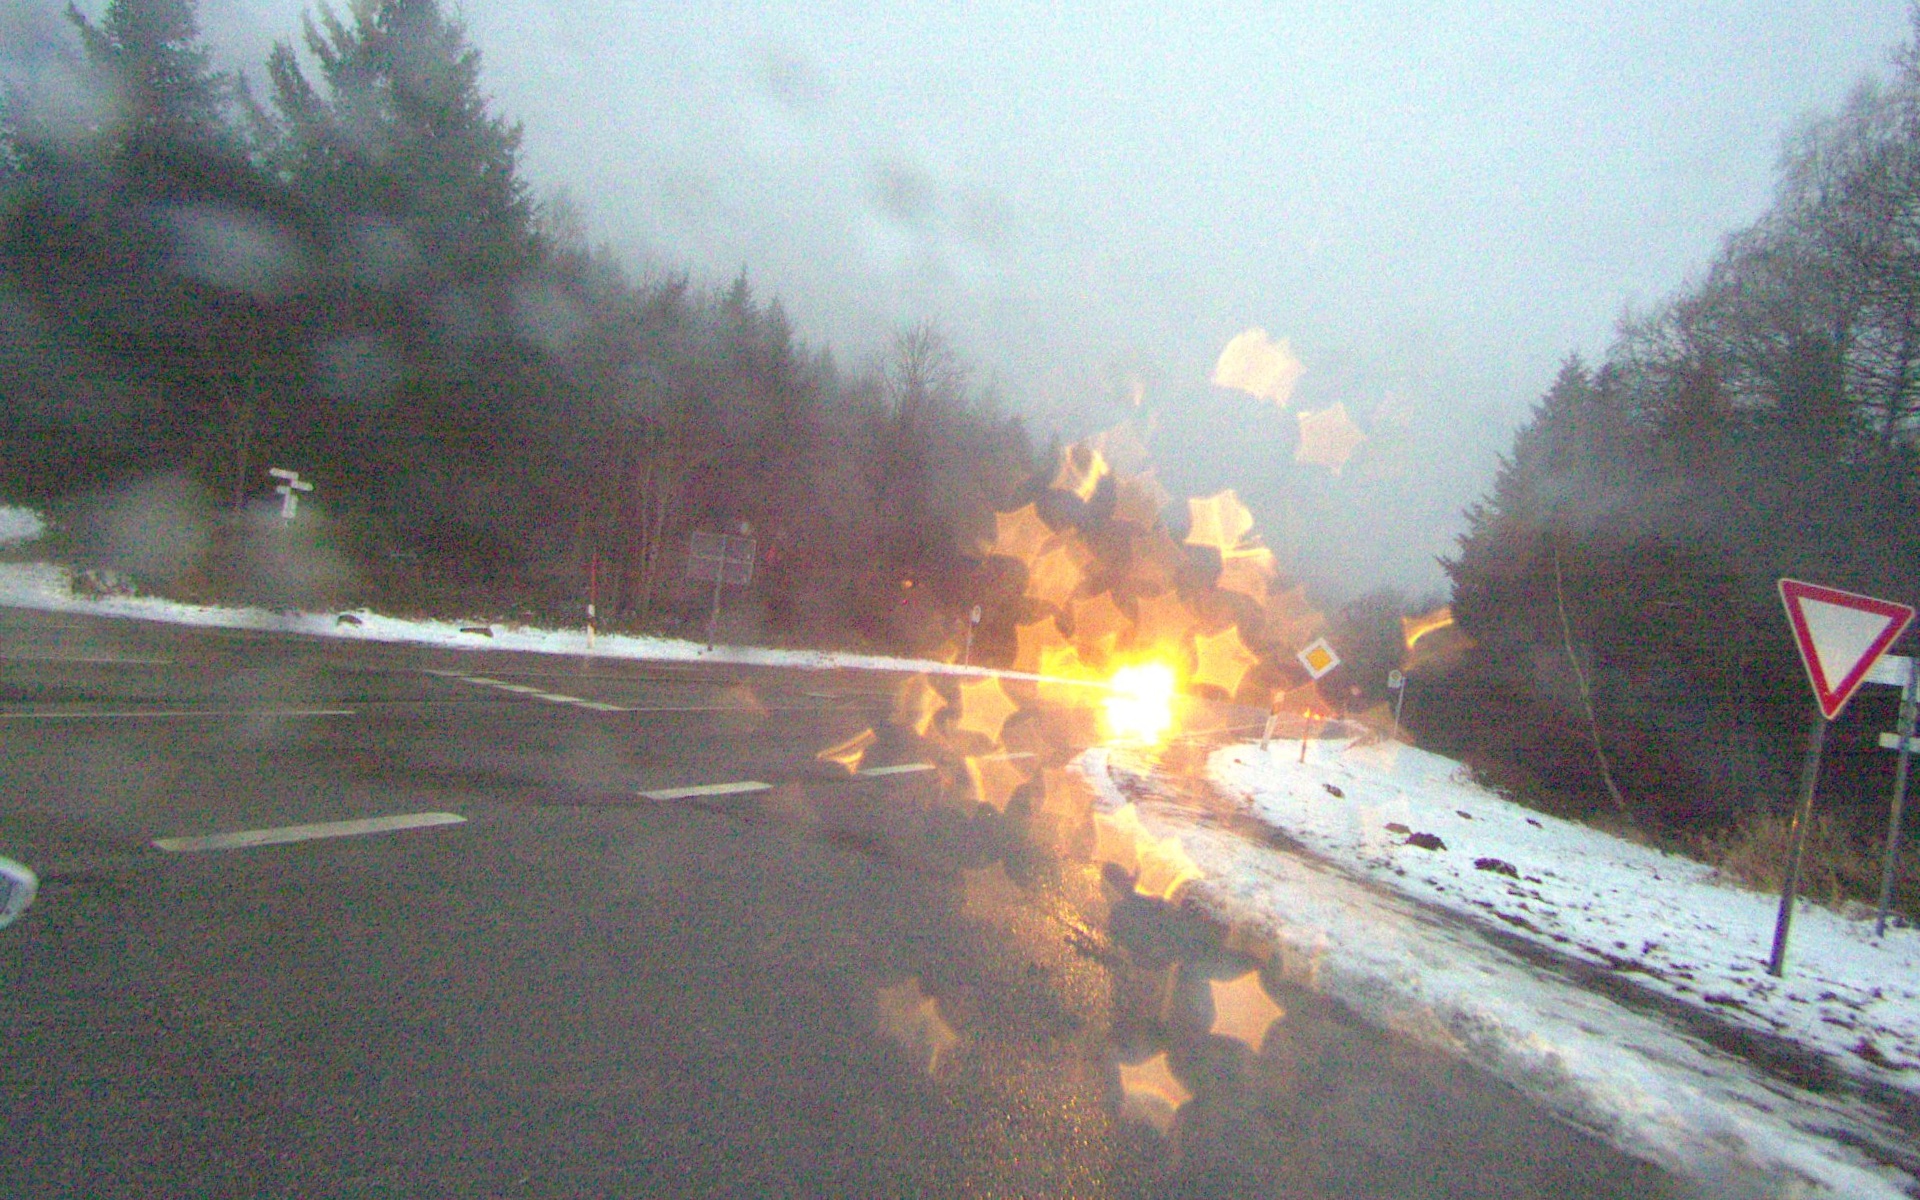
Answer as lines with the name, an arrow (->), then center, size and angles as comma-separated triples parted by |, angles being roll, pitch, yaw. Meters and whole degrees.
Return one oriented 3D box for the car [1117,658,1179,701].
car -> 7.639, 3.242, 40.645 | 1.549, 1.469, 3.413 | 7, -2, 25
